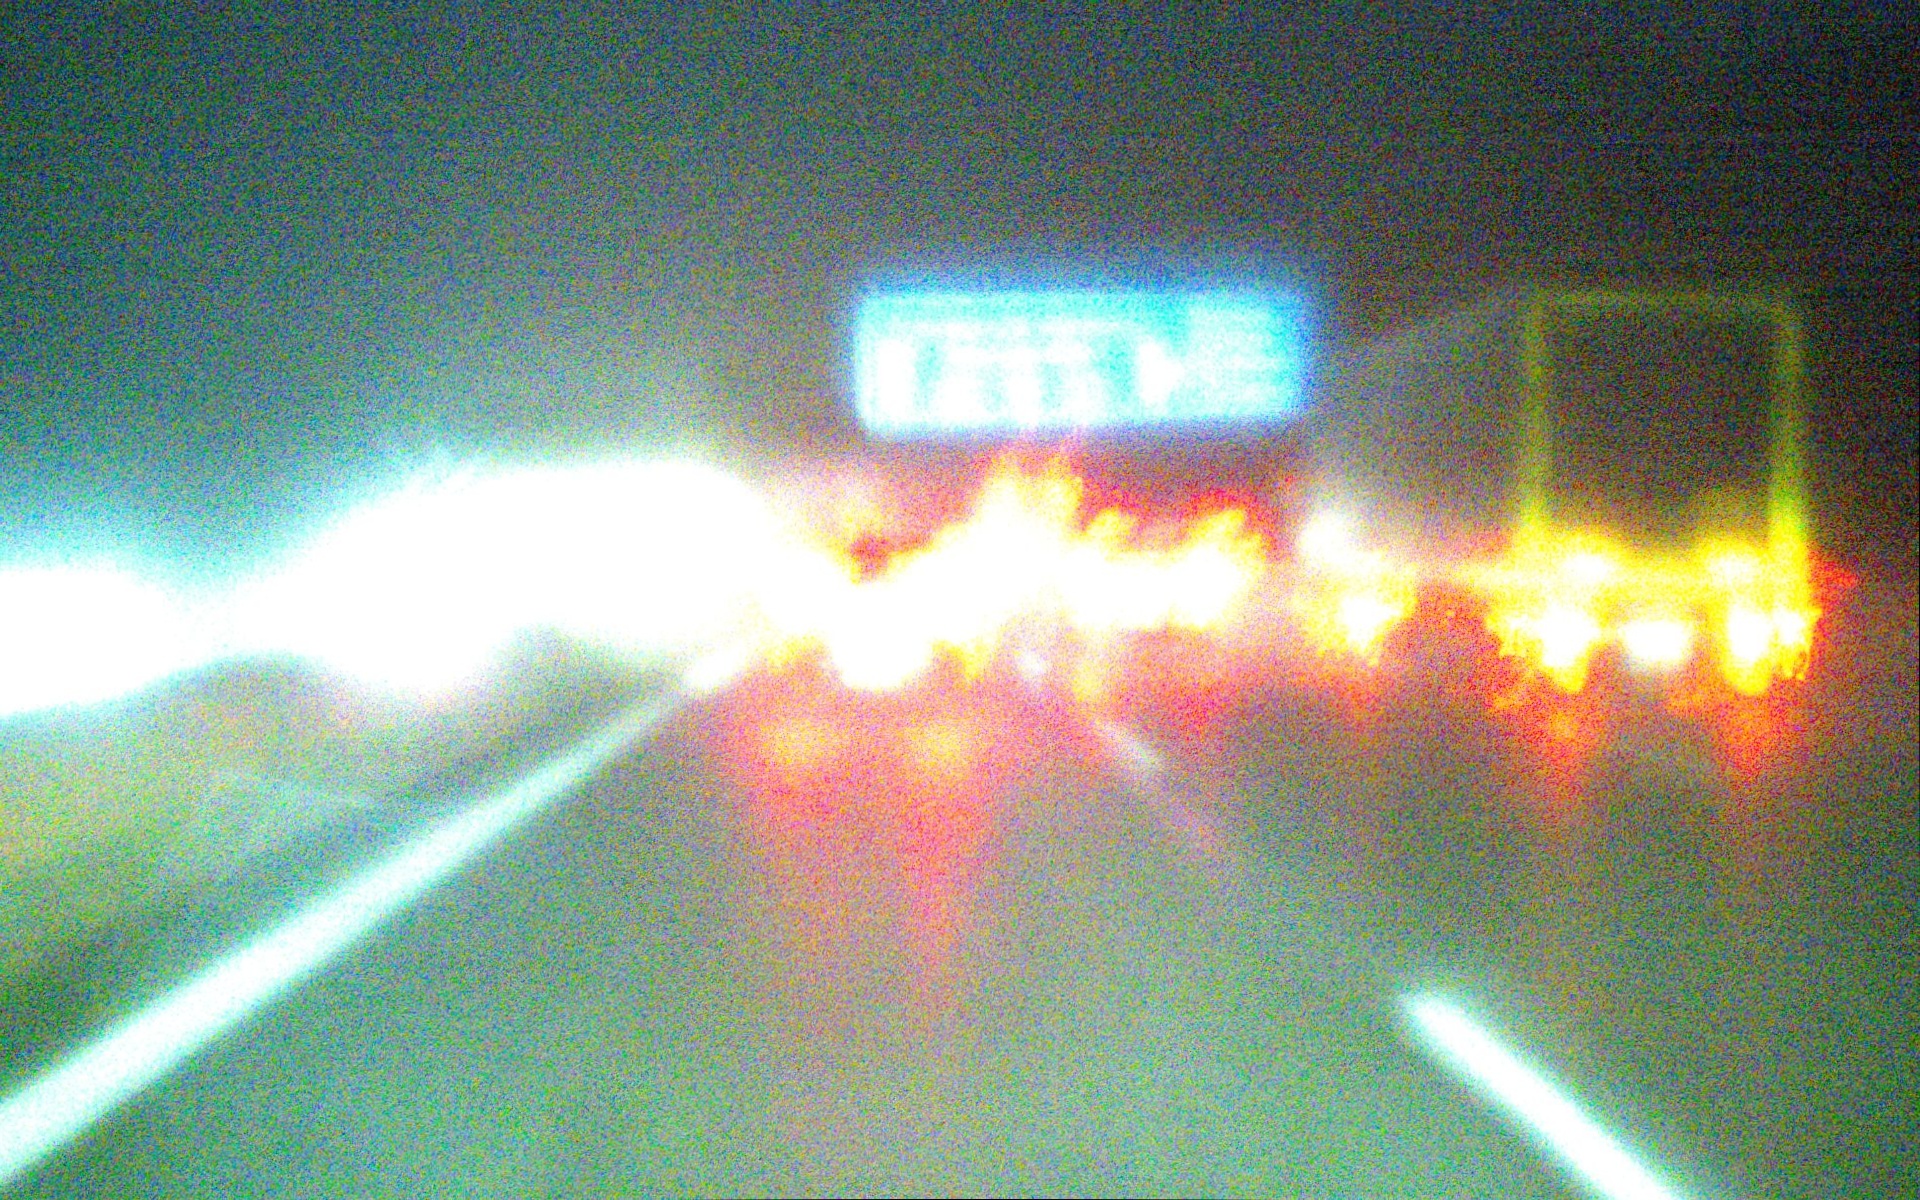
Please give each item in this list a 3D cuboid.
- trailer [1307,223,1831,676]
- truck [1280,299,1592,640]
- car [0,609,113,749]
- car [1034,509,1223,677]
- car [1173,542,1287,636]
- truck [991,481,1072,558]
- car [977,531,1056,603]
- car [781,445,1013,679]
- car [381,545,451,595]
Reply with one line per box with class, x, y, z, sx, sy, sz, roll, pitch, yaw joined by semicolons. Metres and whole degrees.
trailer;6.354;-1.529;38.822;3.041;4.094;13.830;-2;1;-1
truck;6.142;-1.661;45.274;3.041;4.094;5.799;-2;1;-1
car;-14.273;1.139;51.649;1.993;1.754;4.960;1;2;-2
car;2.138;-0.123;44.724;1.993;2.007;4.001;-2;1;-3
car;6.089;-0.276;77.837;1.993;2.007;4.001;-2;1;-3
truck;3.174;-3.624;155.693;3.037;3.286;11.382;-2;1;-1
car;1.642;-0.998;101.674;1.993;2.007;4.001;-2;1;-3
car;-0.598;-0.361;31.865;1.993;2.007;4.000;1;1;-1
car;-20.055;-1.121;126.835;1.993;1.755;4.960;-2;1;-3
